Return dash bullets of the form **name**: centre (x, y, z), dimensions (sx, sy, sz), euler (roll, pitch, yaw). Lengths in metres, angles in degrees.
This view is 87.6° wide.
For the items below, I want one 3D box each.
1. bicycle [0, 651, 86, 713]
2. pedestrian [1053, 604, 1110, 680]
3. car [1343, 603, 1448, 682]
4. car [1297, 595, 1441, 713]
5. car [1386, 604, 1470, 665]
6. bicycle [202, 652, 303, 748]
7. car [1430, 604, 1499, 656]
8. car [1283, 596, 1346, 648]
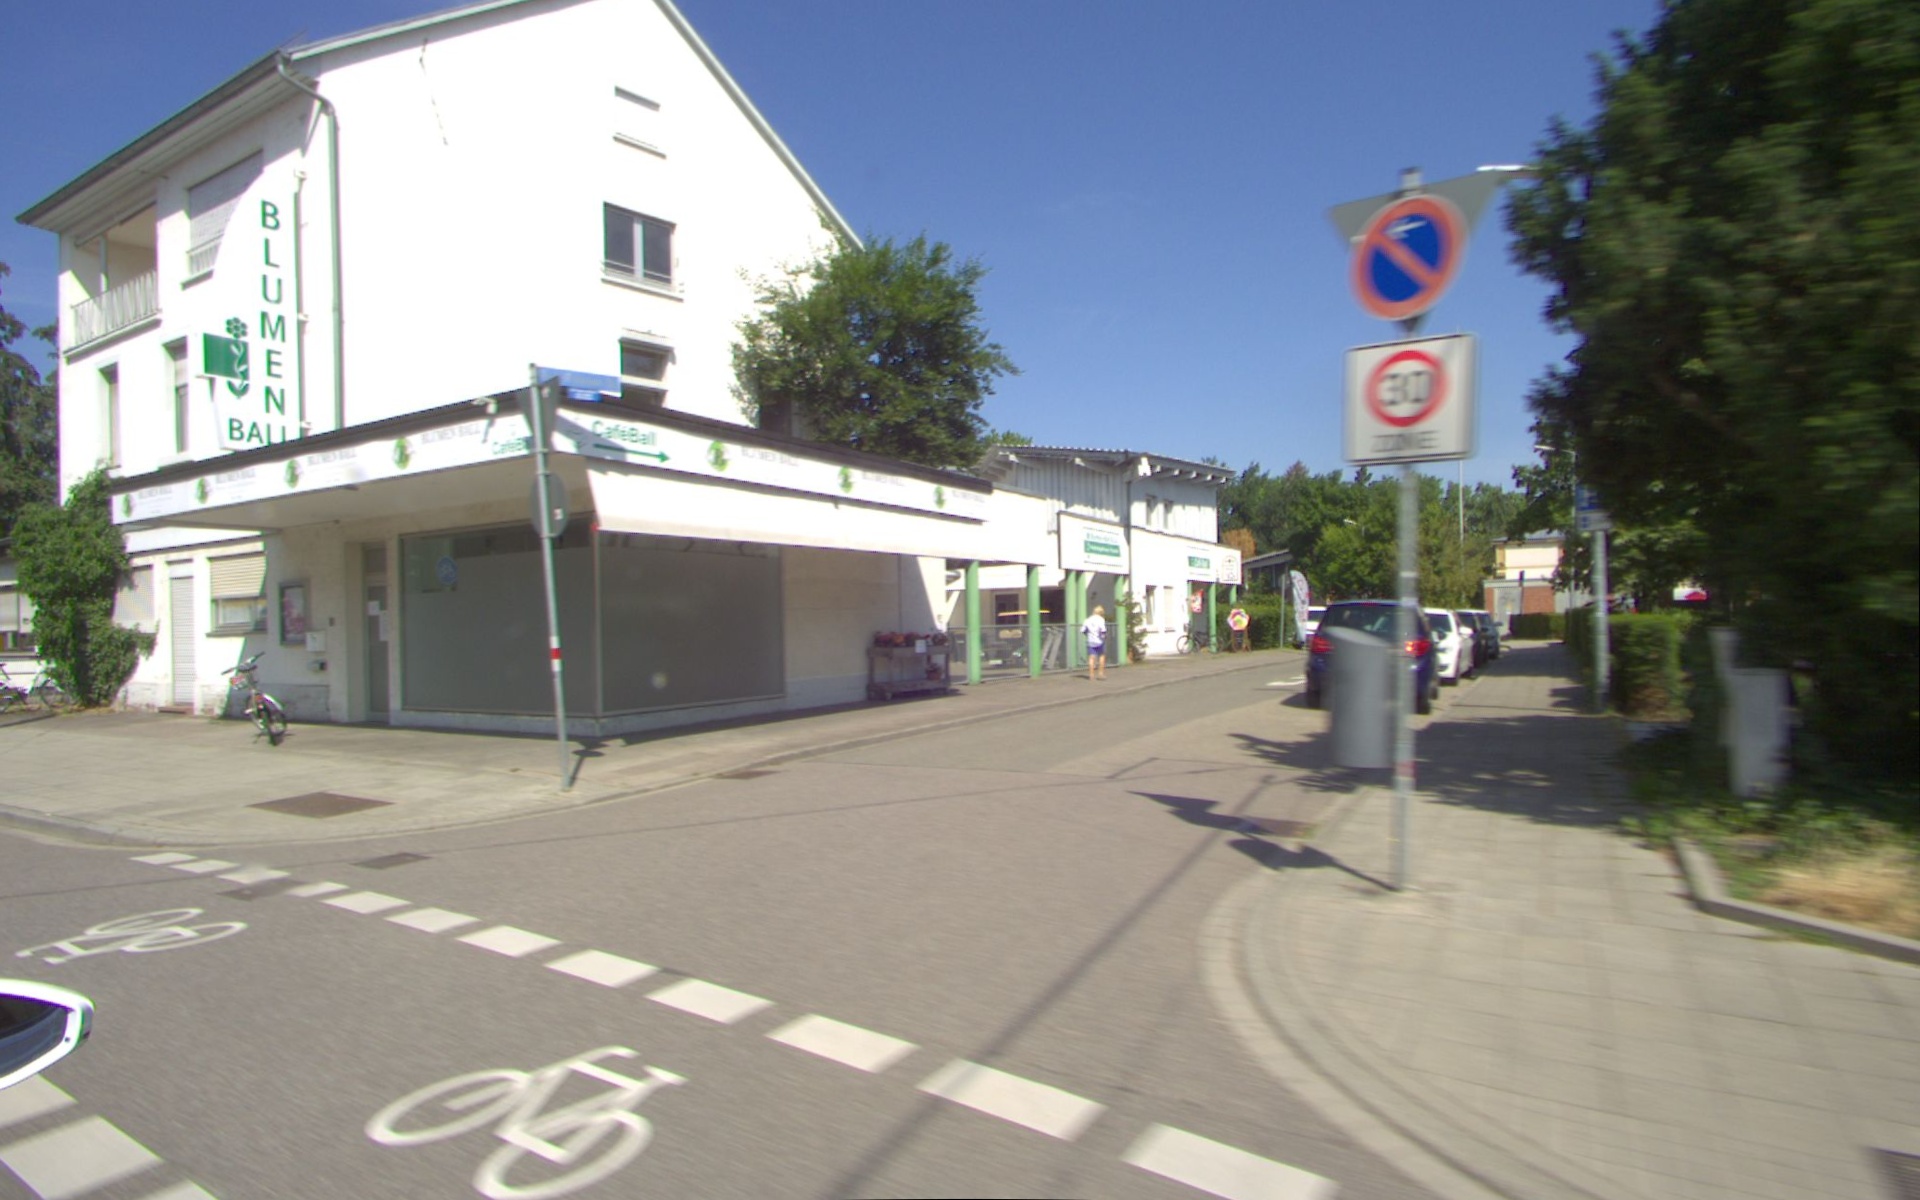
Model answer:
- **bicycle**: centre (-18.500, 1.620, 19.839), dimensions (0.518, 1.144, 1.708), euler (-2, -1, 33)
- **pedestrian**: centre (2.749, 0.929, 22.615), dimensions (1.017, 1.671, 0.959), euler (-1, 0, 25)
- **car**: centre (9.091, 0.825, 20.733), dimensions (1.548, 1.470, 4.307), euler (-2, -1, 29)
- **car**: centre (6.443, 0.739, 15.553), dimensions (1.707, 1.588, 3.715), euler (0, 0, 28)
- **car**: centre (12.495, 0.882, 26.619), dimensions (1.713, 1.470, 4.051), euler (-2, -1, 29)
- **bicycle**: centre (-9.574, 1.296, 13.506), dimensions (2.172, 1.154, 0.721), euler (-2, -1, 44)
- **car**: centre (15.556, 0.891, 30.786), dimensions (1.713, 1.470, 4.051), euler (-2, -1, 29)
- **car**: centre (15.008, 0.928, 42.557), dimensions (1.963, 2.040, 3.997), euler (-1, -1, 12)
